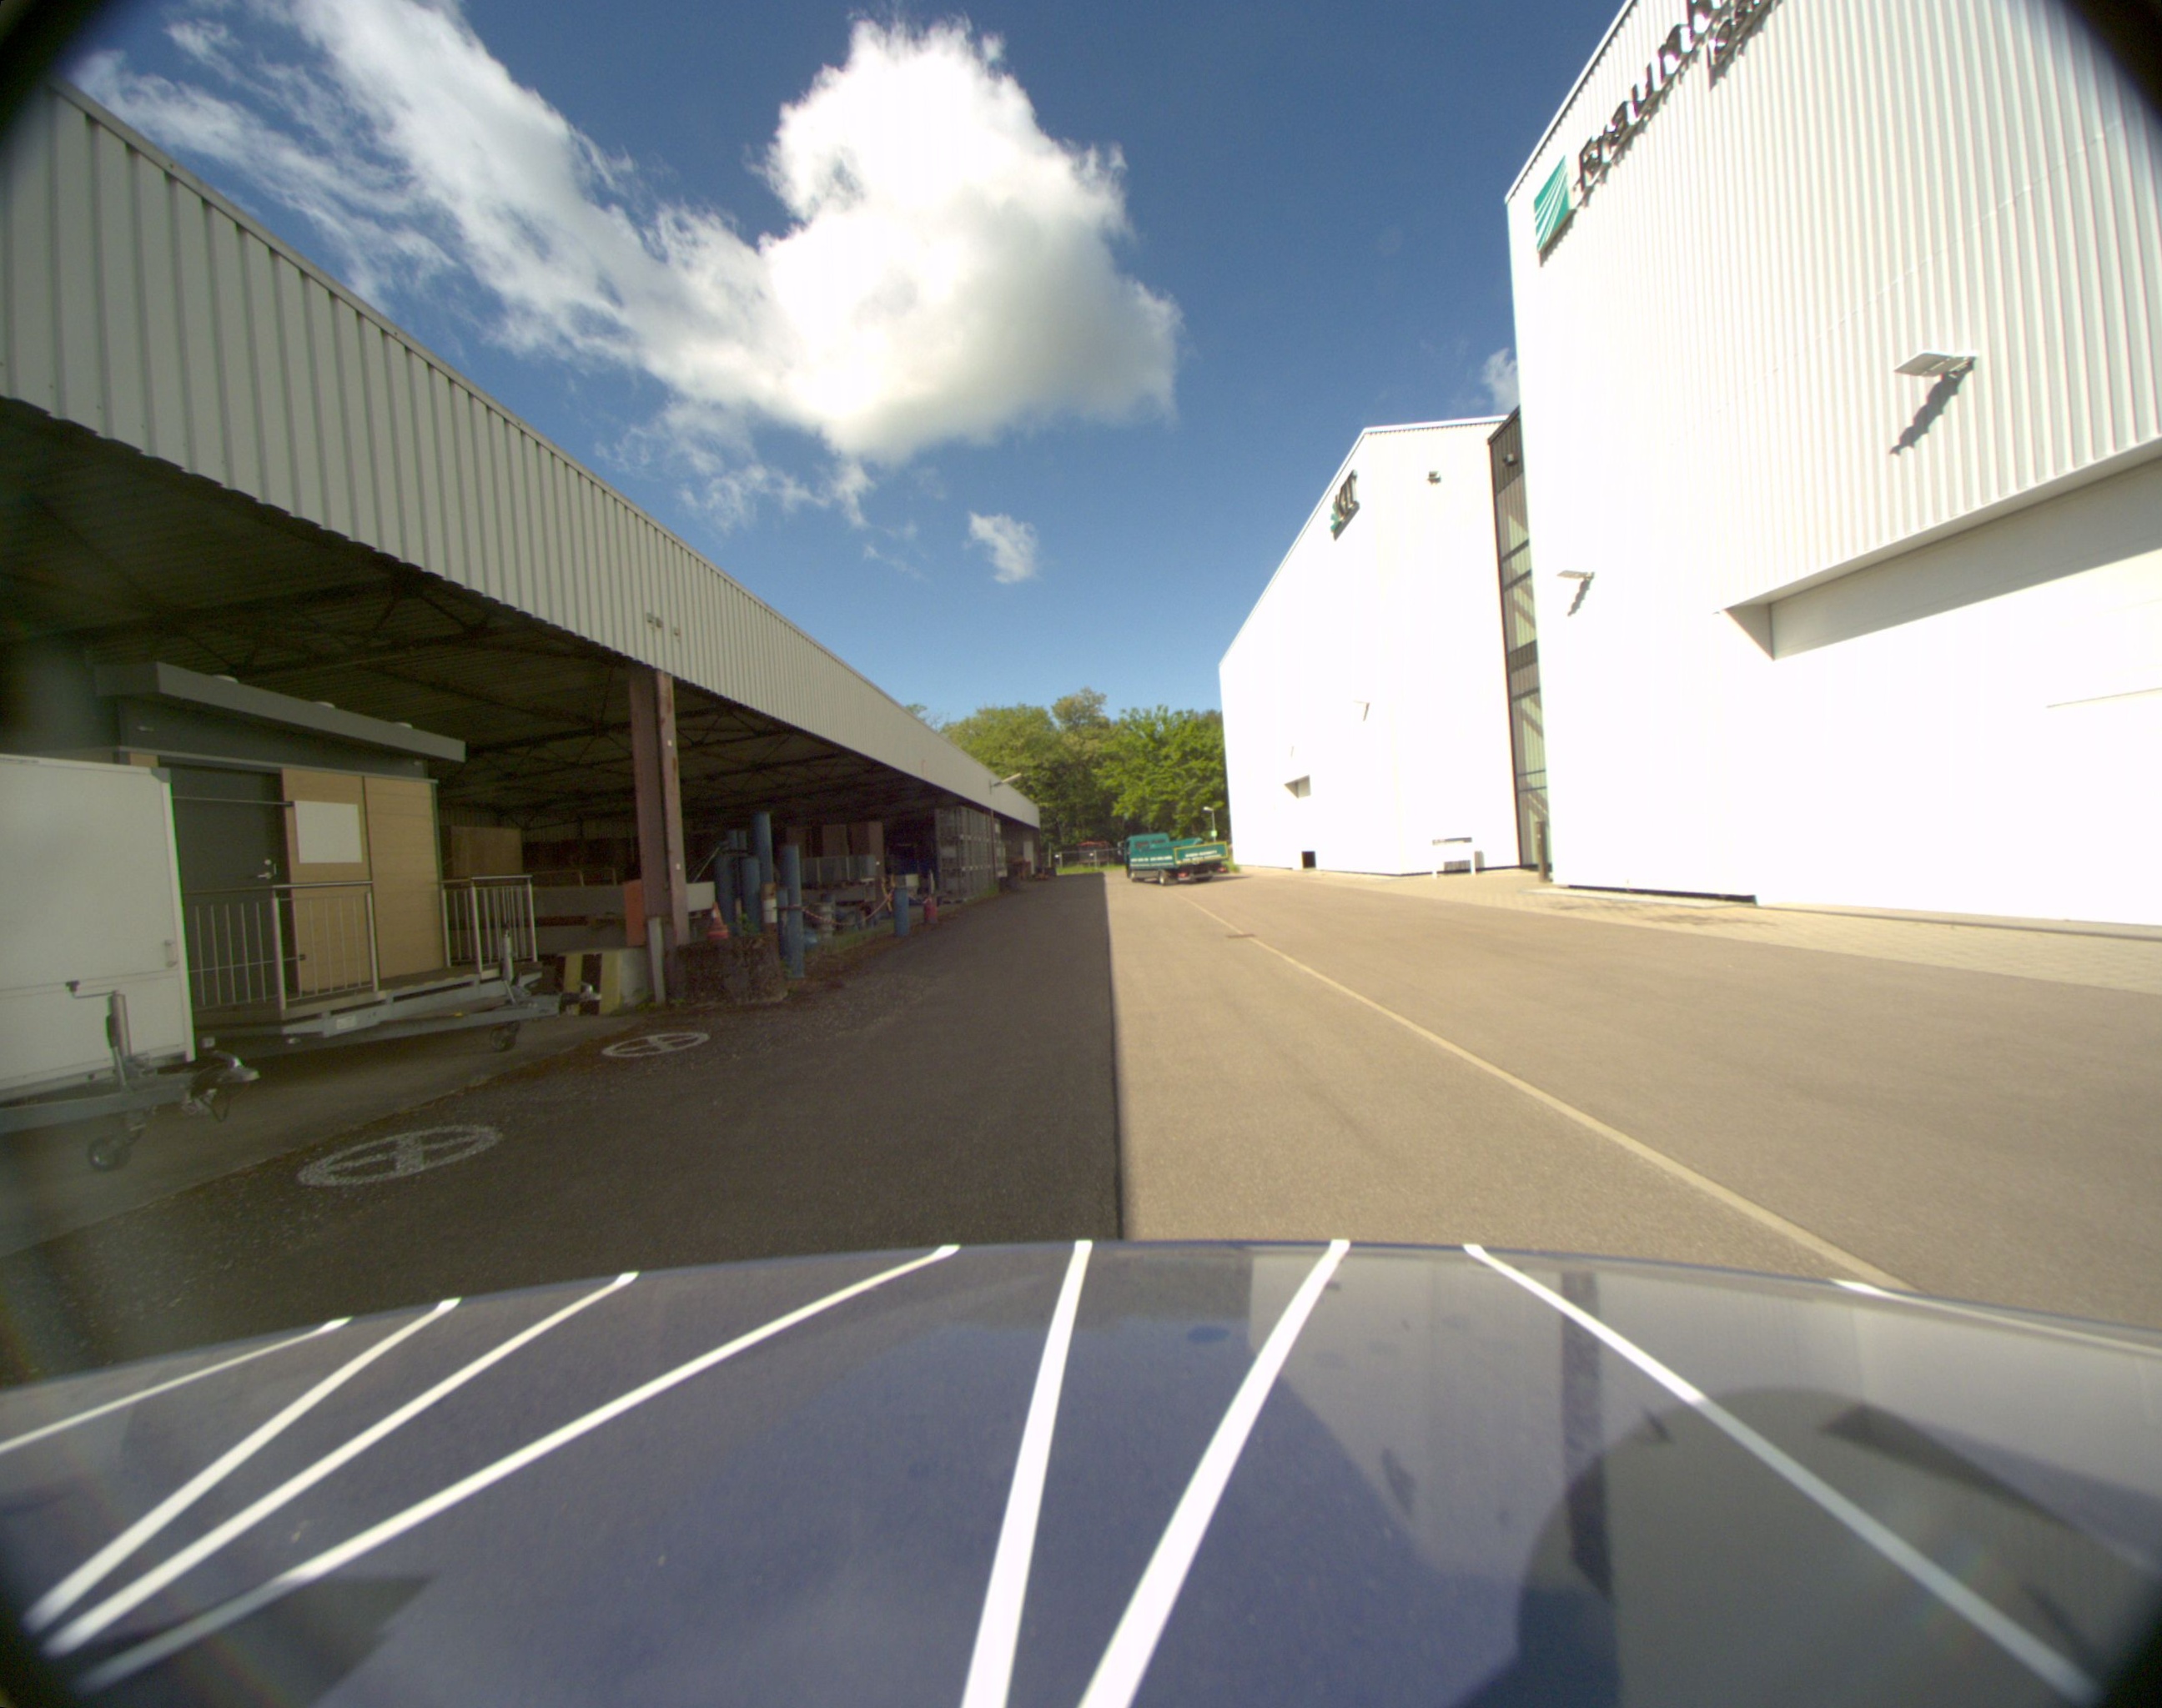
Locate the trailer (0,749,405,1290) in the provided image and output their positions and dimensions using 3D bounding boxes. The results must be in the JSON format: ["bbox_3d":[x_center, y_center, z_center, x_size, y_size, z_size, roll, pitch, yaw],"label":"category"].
[{"bbox_3d":[-6.775,0.810,4.188,4.552,2.321,1.689,-3,1,2],"label":"trailer"}]

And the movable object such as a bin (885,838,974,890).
[{"bbox_3d":[-8.767,0.586,44.208,4.626,2.706,2.000,-3,-1,0],"label":"movable object such as a bin"}]

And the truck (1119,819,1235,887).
[{"bbox_3d":[4.457,0.028,37.985,2.589,2.701,9.687,-7,0,-11],"label":"truck"}]

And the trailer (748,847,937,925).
[{"bbox_3d":[-6.954,0.912,22.489,4.828,1.985,2.047,-3,1,4],"label":"trailer"}]

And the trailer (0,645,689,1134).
[{"bbox_3d":[-9.368,0.423,6.775,10.317,3.276,2.675,-3,1,2],"label":"trailer"}]

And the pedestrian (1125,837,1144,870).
[{"bbox_3d":[2.927,-0.022,41.665,0.894,1.792,1.040,-2,1,0],"label":"pedestrian"}]

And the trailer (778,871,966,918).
[{"bbox_3d":[-6.986,1.352,25.830,5.748,1.126,2.009,-4,0,0],"label":"trailer"}]
